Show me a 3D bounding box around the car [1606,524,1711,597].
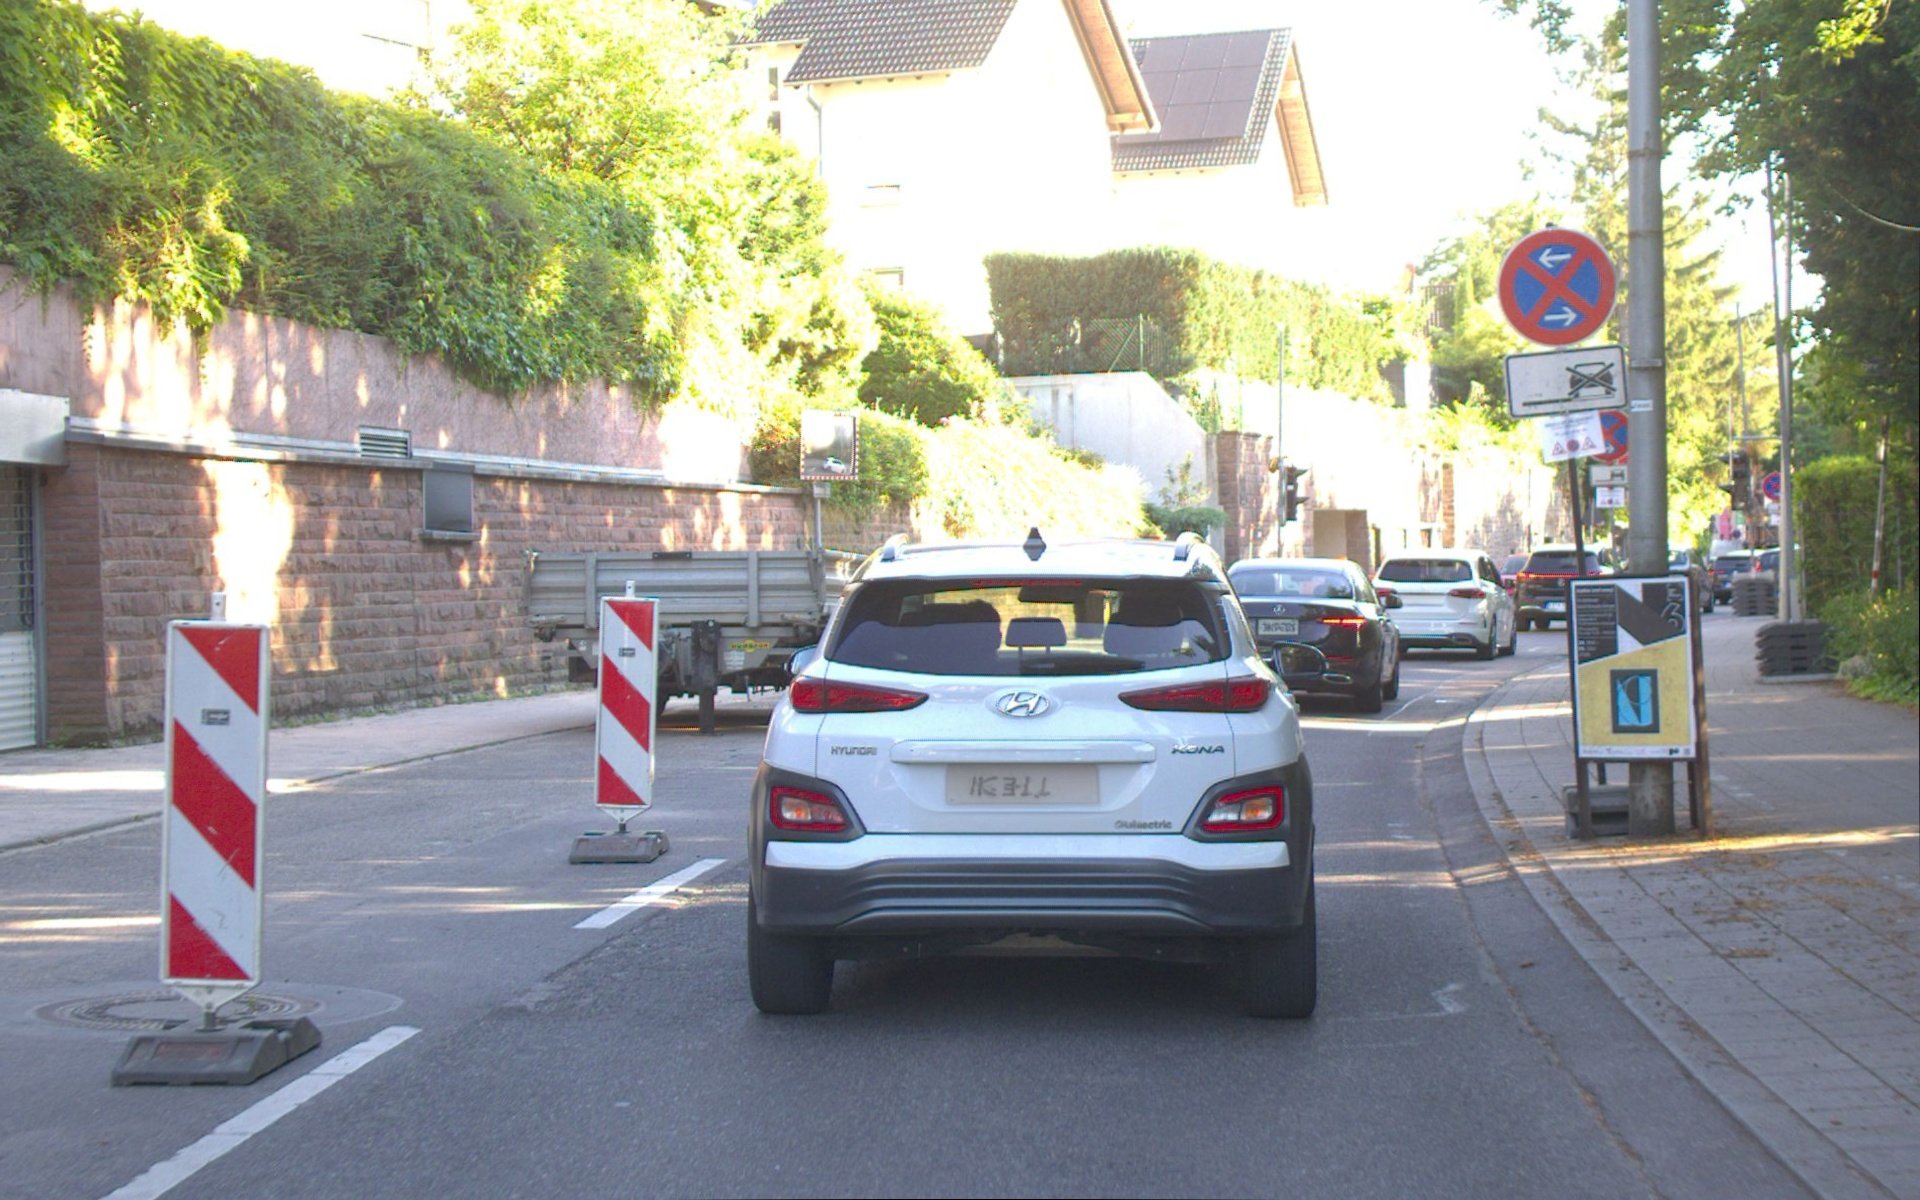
[{"bbox_3d":[15.892,-0.915,78.071,1.695,1.442,3.878,-4,1,20],"label":"car"}]

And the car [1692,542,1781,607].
[{"bbox_3d":[20.452,-0.686,90.450,1.695,1.499,3.627,-4,1,21],"label":"car"}]

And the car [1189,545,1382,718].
[{"bbox_3d":[3.197,0.267,33.252,1.512,1.528,3.546,-1,1,11],"label":"car"}]

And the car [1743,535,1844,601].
[{"bbox_3d":[19.230,-0.759,79.224,1.796,1.436,3.996,-1,1,20],"label":"car"}]

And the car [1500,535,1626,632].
[{"bbox_3d":[11.094,-0.332,63.061,1.695,1.528,3.878,-5,1,17],"label":"car"}]

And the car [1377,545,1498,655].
[{"bbox_3d":[6.697,-0.023,48.004,1.571,1.472,3.546,0,1,10],"label":"car"}]

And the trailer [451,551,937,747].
[{"bbox_3d":[-2.071,0.324,29.807,2.641,1.484,7.116,0,1,9],"label":"trailer"}]

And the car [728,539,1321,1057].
[{"bbox_3d":[0.316,0.556,12.284,1.772,1.537,4.000,0,1,4],"label":"car"}]
